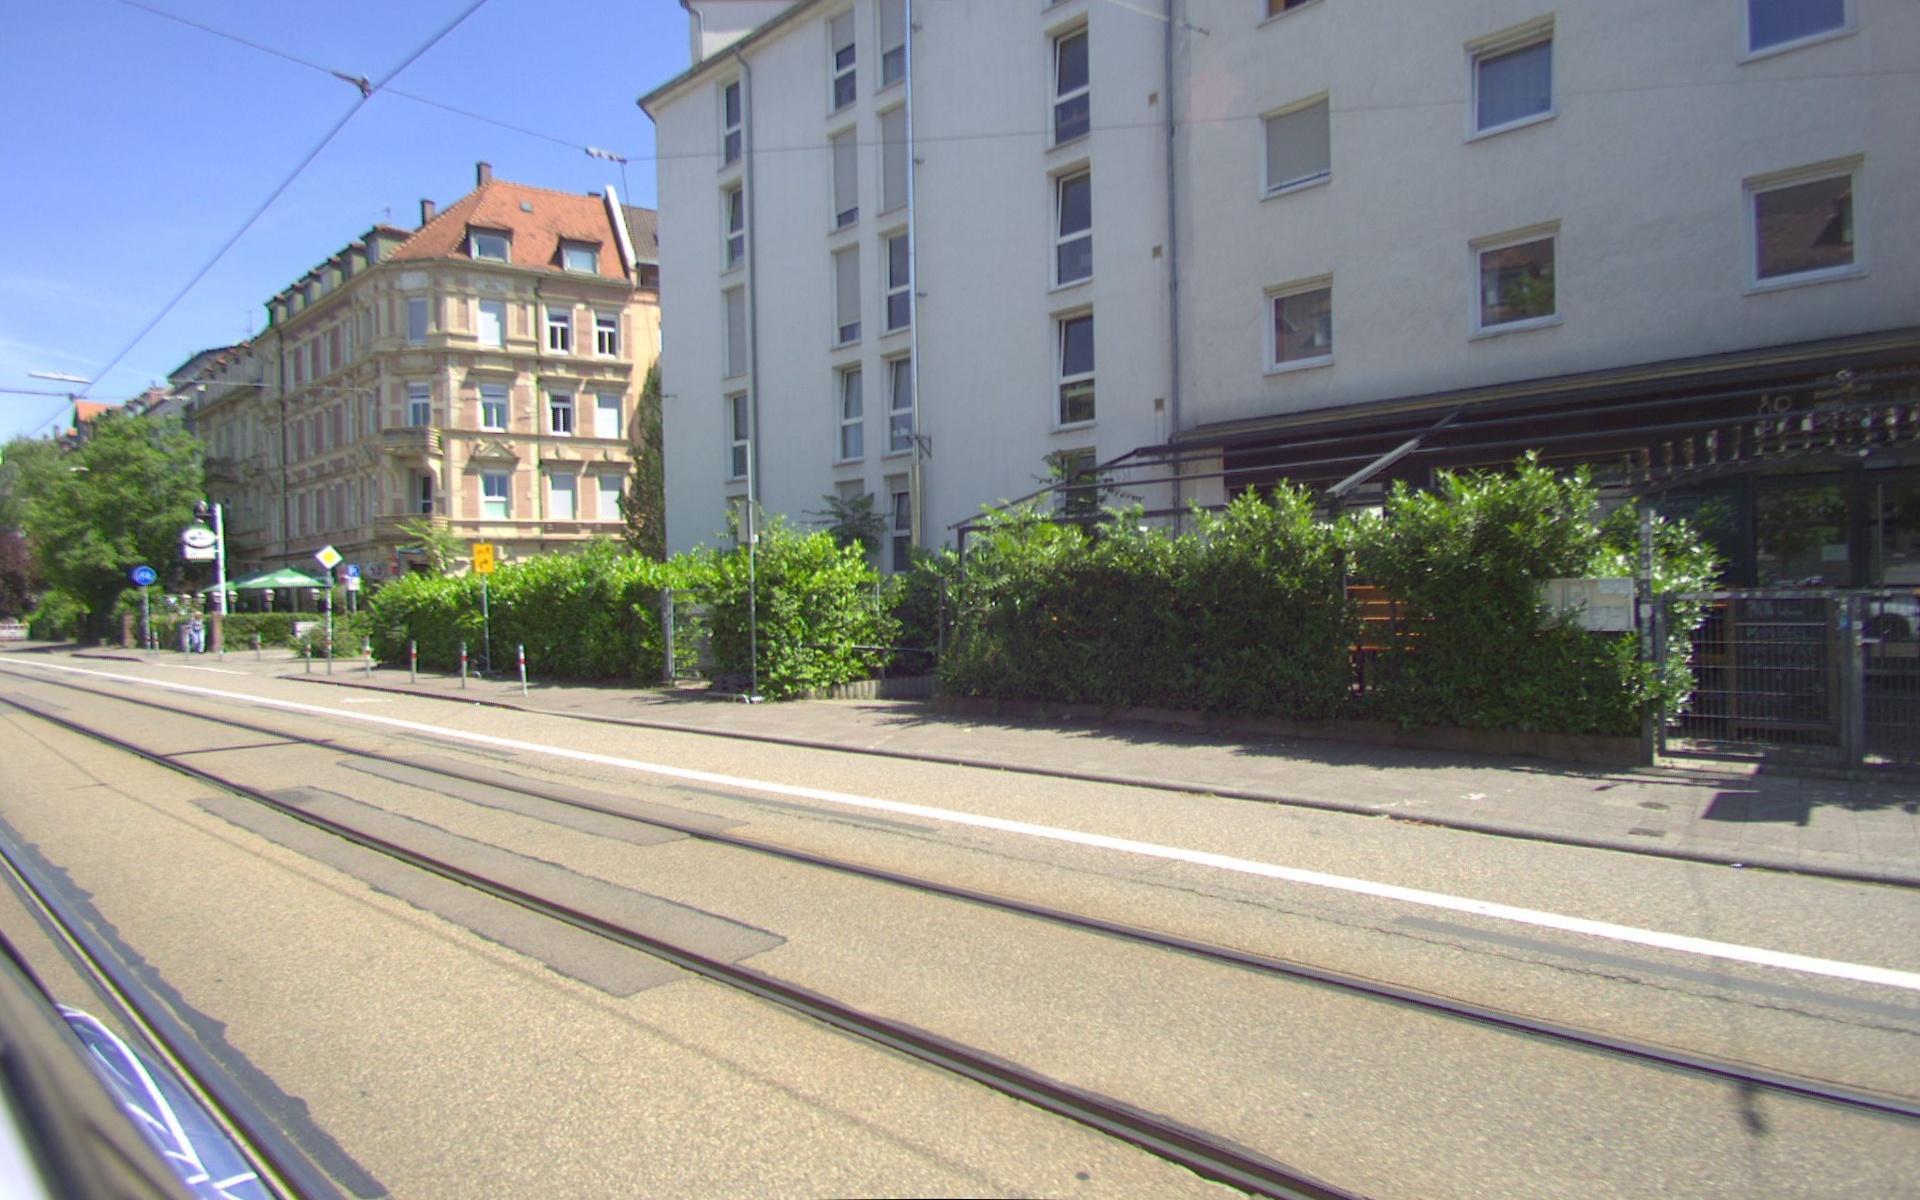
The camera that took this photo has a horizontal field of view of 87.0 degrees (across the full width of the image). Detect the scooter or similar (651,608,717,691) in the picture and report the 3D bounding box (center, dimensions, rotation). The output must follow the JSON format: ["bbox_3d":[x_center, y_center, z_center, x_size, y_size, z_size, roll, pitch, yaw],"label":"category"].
[{"bbox_3d":[-5.102,0.890,18.707,0.597,1.462,0.998,-1,0,41],"label":"scooter or similar"}]

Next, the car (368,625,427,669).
[{"bbox_3d":[-20.479,1.682,36.785,1.568,1.449,3.767,-1,0,-34],"label":"car"}]

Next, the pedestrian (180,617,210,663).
[{"bbox_3d":[-27.937,1.448,36.944,0.939,1.654,0.732,-2,-1,43],"label":"pedestrian"}]
